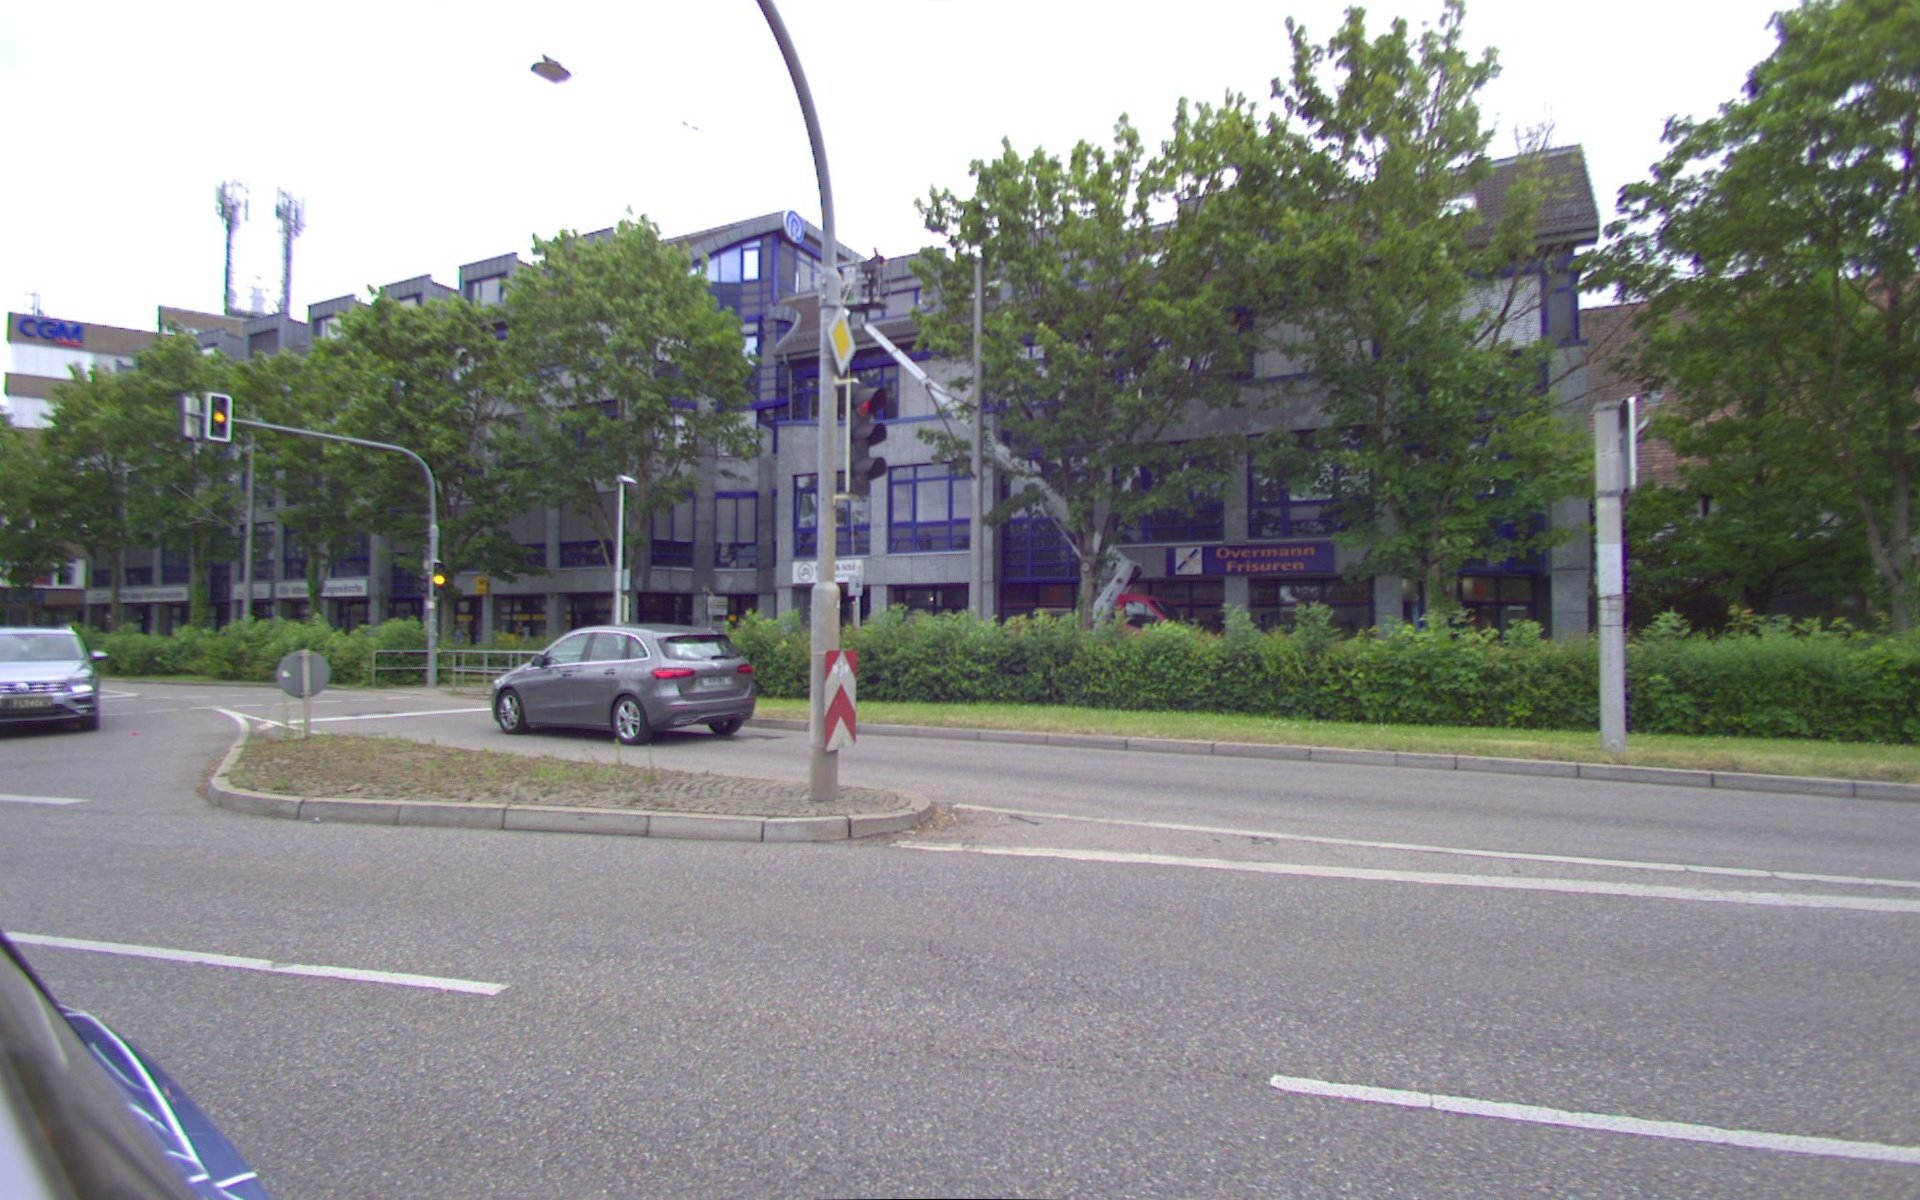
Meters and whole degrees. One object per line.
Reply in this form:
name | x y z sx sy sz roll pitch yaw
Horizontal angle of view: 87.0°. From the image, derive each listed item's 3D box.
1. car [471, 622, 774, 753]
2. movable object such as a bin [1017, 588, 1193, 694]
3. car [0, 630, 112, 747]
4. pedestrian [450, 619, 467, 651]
car | -4.799 1.135 14.142 4.385 1.549 1.767 -2 -2 35
movable object such as a bin | 3.734 1.040 26.171 4.107 2.551 1.893 -2 -1 28
car | -14.943 1.324 16.277 1.805 1.658 4.335 0 -1 -38
pedestrian | -21.537 1.491 43.486 0.555 1.344 0.363 -2 0 24
